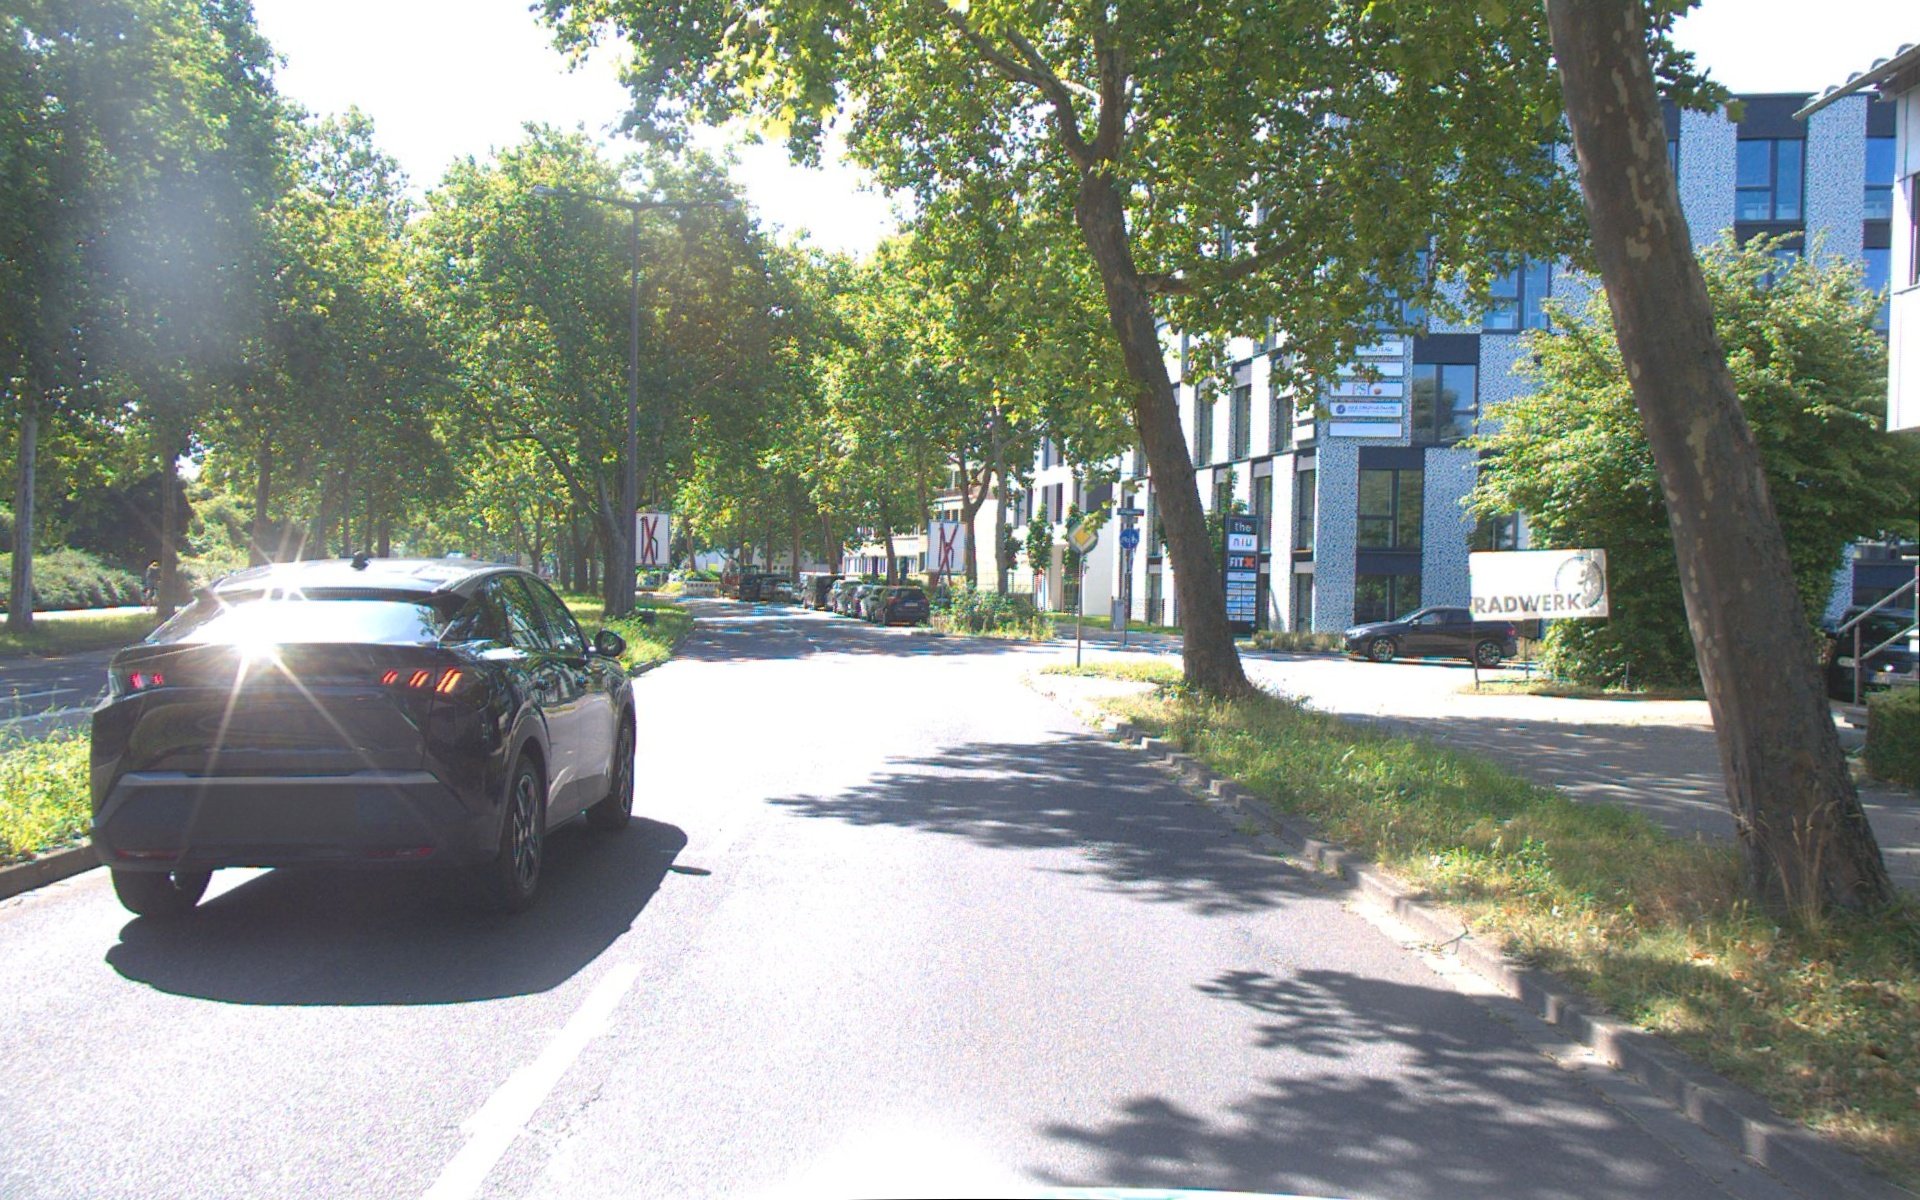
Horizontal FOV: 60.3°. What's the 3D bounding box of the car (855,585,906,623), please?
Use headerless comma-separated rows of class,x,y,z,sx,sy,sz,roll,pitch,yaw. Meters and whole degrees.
car,-3.372,0.143,69.358,1.675,1.513,4.092,0,1,-9

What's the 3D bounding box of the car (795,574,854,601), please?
car,-8.750,-0.800,106.584,3.496,1.668,1.651,0,1,-17

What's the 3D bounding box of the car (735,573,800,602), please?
car,-13.105,-0.840,112.621,4.059,1.912,1.766,0,1,-32

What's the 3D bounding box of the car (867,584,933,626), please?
car,-2.361,0.159,63.570,1.677,1.513,4.703,-1,1,-13

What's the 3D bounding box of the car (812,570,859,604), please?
car,-6.526,-0.720,86.460,1.678,1.698,4.517,0,1,-14

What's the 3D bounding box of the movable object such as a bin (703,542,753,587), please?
movable object such as a bin,-17.338,-2.626,123.502,2.313,3.297,3.383,0,1,-39

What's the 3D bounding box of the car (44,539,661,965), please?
car,-2.872,0.600,8.963,1.834,1.726,4.434,0,0,-2

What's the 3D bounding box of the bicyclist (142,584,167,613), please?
bicyclist,-29.612,-0.064,60.781,0.420,1.031,1.422,1,1,-9

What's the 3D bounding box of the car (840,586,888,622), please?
car,-4.343,0.155,74.216,1.675,1.480,4.646,0,1,-9

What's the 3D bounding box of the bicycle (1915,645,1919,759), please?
bicycle,10.454,1.025,16.397,1.635,1.150,0.509,0,0,9

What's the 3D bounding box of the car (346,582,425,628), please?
car,-20.354,0.152,58.776,1.760,1.583,4.389,0,1,-7

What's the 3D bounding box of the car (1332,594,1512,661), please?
car,11.776,0.686,42.428,4.158,1.544,2.002,2,1,7

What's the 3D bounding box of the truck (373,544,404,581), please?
truck,-56.674,-3.746,163.929,2.416,3.509,7.053,2,1,-22

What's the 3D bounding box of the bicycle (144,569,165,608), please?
bicycle,-29.611,-0.440,60.801,0.420,1.409,0.953,1,0,-9
